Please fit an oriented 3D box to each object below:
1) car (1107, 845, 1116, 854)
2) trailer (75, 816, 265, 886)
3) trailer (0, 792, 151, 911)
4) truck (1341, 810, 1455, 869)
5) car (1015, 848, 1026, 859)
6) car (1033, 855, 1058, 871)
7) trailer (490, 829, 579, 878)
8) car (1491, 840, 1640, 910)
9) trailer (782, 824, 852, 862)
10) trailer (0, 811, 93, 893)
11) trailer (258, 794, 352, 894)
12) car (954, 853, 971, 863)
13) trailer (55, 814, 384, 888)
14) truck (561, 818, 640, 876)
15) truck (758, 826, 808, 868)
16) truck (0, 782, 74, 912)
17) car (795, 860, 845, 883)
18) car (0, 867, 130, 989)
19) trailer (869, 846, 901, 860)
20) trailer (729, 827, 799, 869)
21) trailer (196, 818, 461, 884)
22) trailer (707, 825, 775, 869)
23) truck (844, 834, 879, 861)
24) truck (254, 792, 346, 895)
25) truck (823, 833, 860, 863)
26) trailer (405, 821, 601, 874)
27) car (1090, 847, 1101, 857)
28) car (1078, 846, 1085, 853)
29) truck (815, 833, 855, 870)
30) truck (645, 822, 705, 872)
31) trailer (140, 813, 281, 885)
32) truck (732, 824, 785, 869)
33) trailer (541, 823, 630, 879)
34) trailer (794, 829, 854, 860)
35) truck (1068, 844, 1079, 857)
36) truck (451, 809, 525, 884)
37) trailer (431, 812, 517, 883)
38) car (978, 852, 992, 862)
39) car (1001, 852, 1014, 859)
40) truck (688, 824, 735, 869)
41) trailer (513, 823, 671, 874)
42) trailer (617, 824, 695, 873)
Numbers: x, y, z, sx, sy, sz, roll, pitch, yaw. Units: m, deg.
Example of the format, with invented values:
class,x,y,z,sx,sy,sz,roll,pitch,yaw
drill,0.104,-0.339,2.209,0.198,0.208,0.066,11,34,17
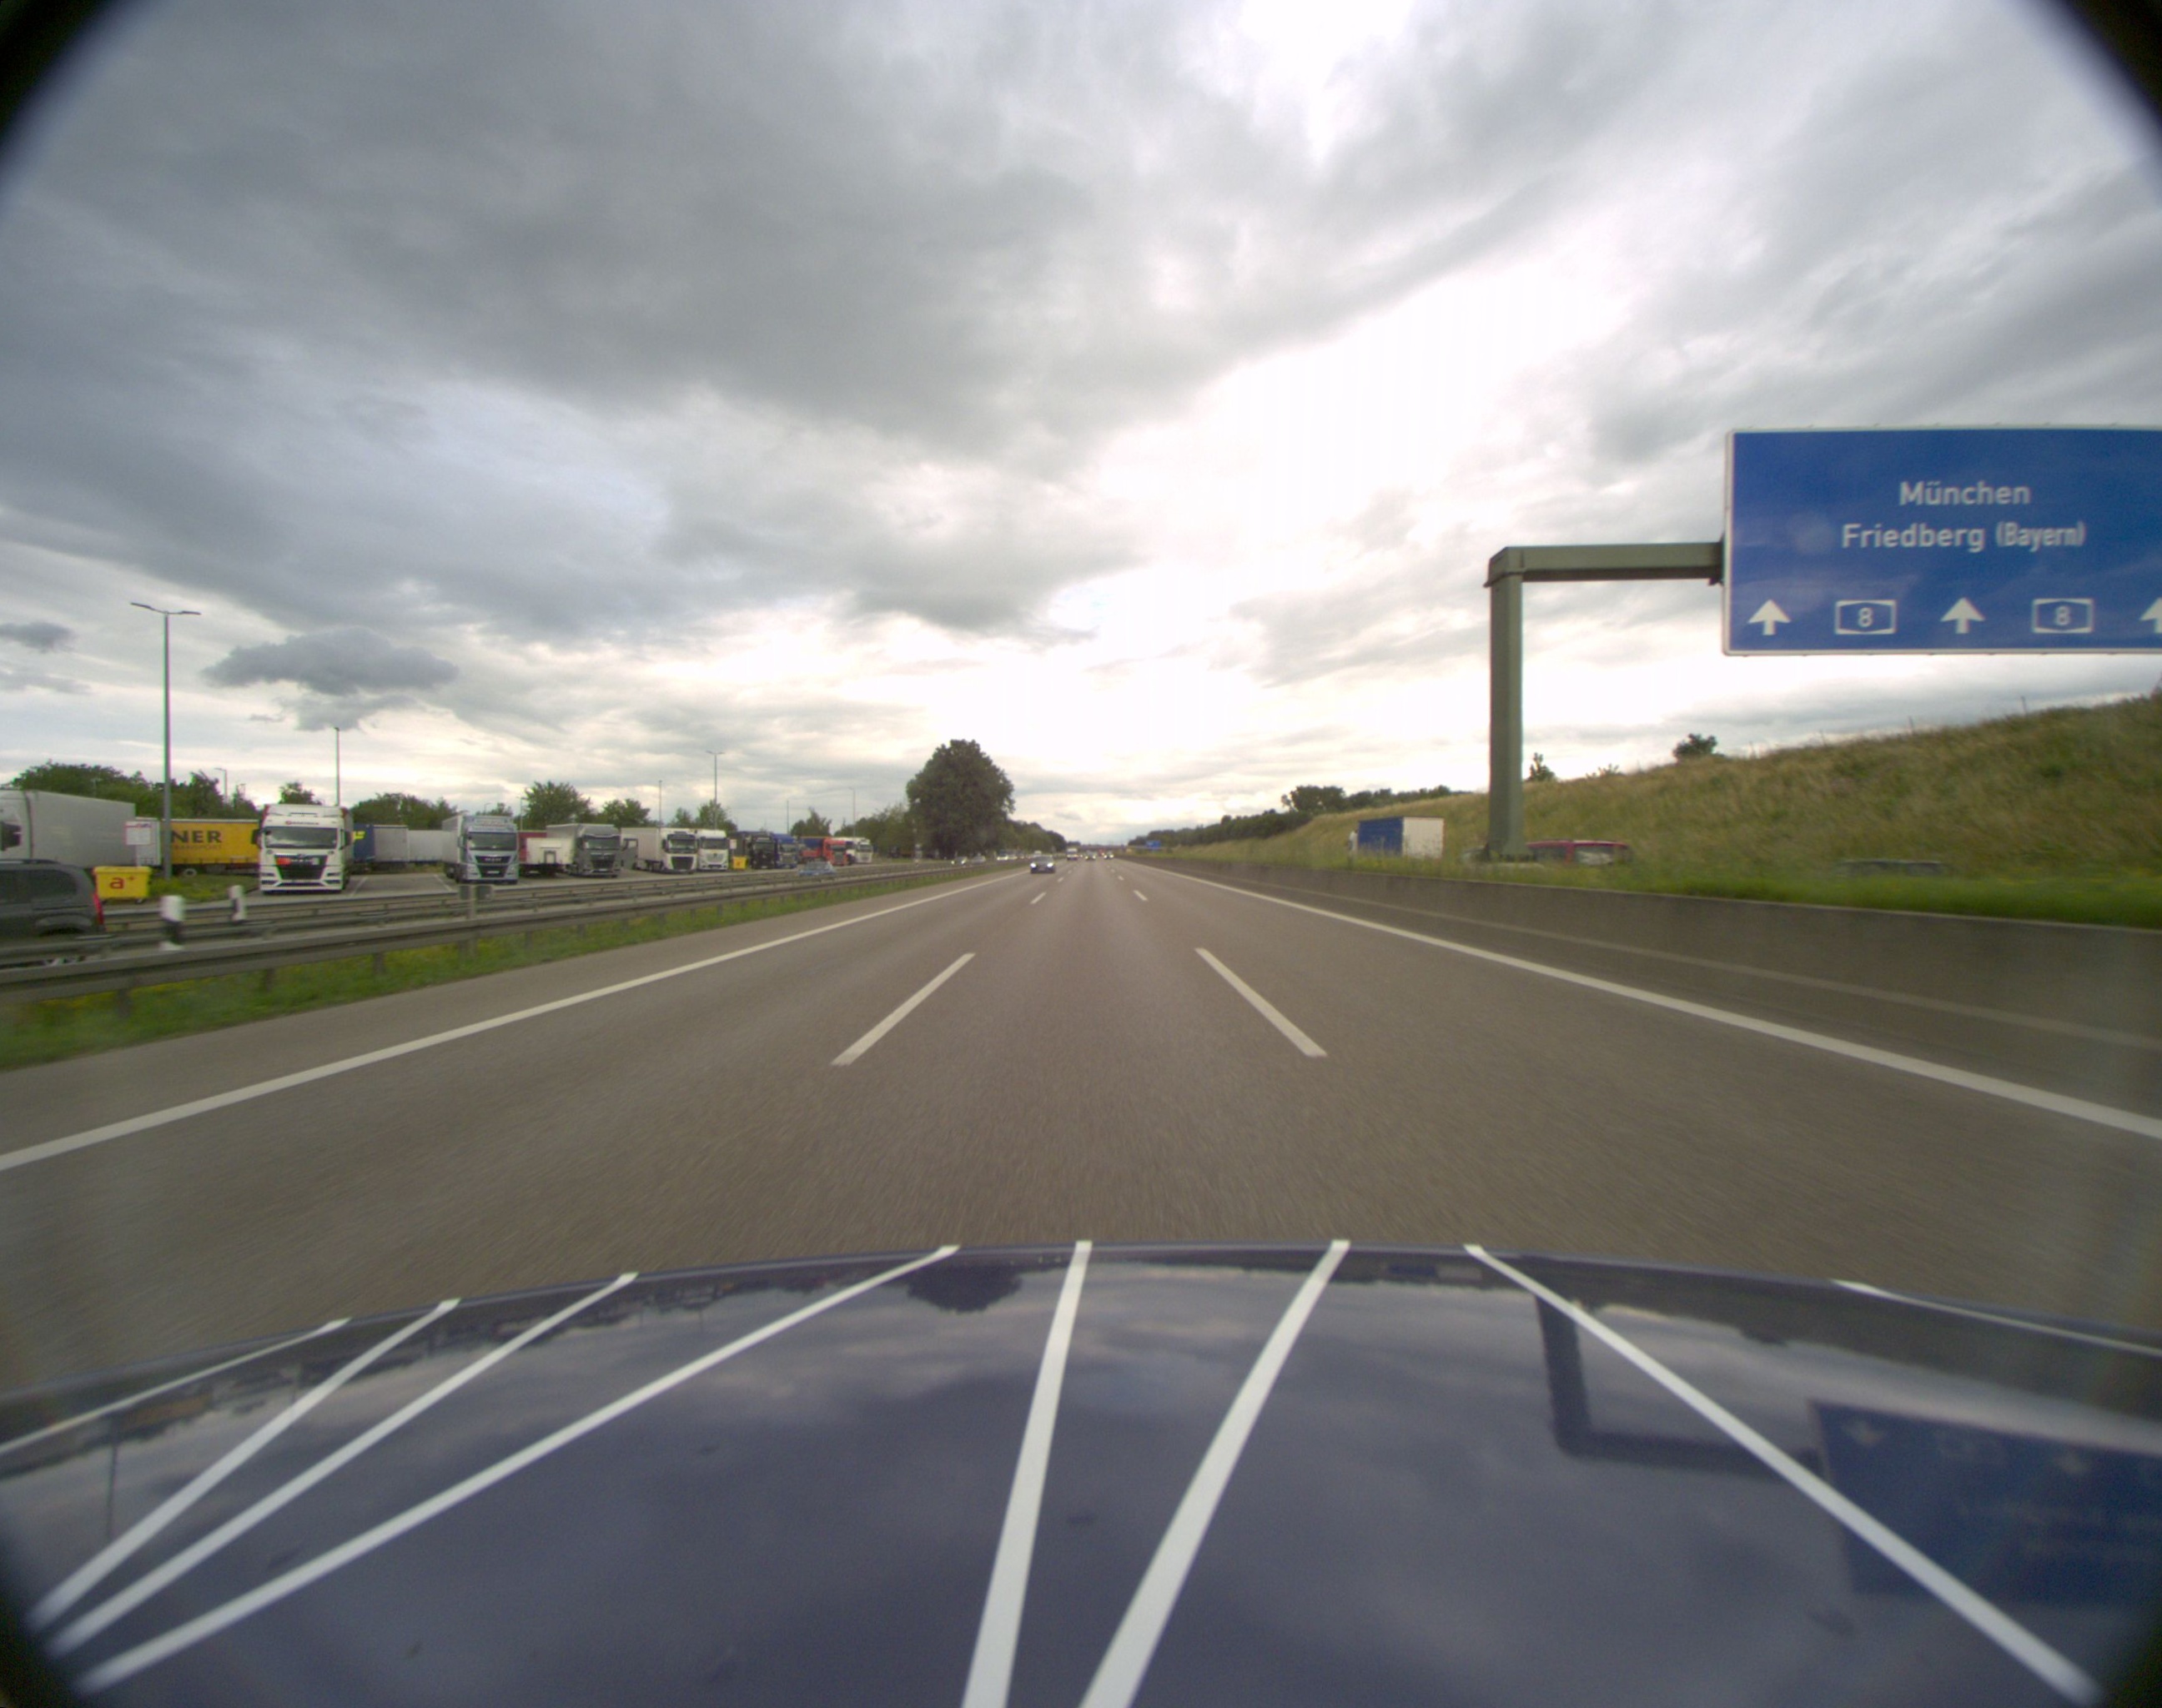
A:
class,x,y,z,sx,sy,sz,roll,pitch,yaw
car,6.918,-1.038,173.657,1.998,2.002,4.000,0,1,1
trailer,-59.016,-0.254,49.583,1.994,4.270,7.755,0,1,43
trailer,-41.416,0.042,30.744,2.618,4.051,13.507,-4,1,-42
truck,21.105,-0.935,51.576,3.267,3.582,10.934,-1,1,1
car,-12.388,-0.123,155.913,1.606,2.002,3.999,-3,1,1
car,-2.831,0.686,61.167,1.781,1.180,4.000,-1,1,1
trailer,-40.178,0.085,55.539,3.602,3.093,13.710,-3,1,-42
car,13.103,0.505,20.822,1.717,1.686,3.706,-3,1,1
trailer,-36.673,-1.418,104.770,2.869,4.651,15.768,-4,1,-43
trailer,-59.346,-0.056,37.347,2.623,4.256,12.906,-1,-1,43
trailer,-39.756,-0.335,39.281,2.482,4.371,14.105,-4,1,-43
car,-15.332,0.473,98.450,1.465,1.208,4.000,-1,1,1
trailer,-60.274,-0.407,54.323,15.078,4.616,2.866,-3,1,-44
truck,-36.419,-0.465,57.462,3.554,4.061,7.634,-4,1,-42
truck,-34.032,-0.753,86.684,3.066,4.531,6.069,-4,1,-43
truck,-36.363,-0.153,25.205,2.619,4.111,4.521,-4,2,-43
car,-16.390,1.093,47.889,1.796,1.251,3.545,-3,1,1
car,-16.710,1.112,10.280,1.832,1.747,4.594,-1,1,1
trailer,-51.887,-0.323,201.513,2.914,3.438,7.603,-1,1,45
trailer,-38.222,-0.629,91.252,3.069,4.553,13.620,-4,1,-43
trailer,-59.588,-0.432,61.101,14.683,4.616,3.150,-3,1,-44
trailer,-38.550,-0.693,85.802,3.170,4.565,12.377,-4,1,-42
truck,-34.575,-1.043,119.636,2.831,4.037,6.432,-3,1,-38
truck,-35.022,-0.438,34.229,2.516,4.303,4.891,-4,2,-44
truck,-33.957,-0.817,107.639,2.674,4.125,5.914,-4,1,-42
trailer,-55.662,-0.781,73.890,14.683,4.616,3.150,-3,1,-44
car,2.748,-0.371,146.148,1.998,2.002,4.000,0,1,1
car,0.066,-1.286,232.232,1.998,2.002,3.999,-3,1,1
truck,-32.558,-0.333,100.365,2.883,4.598,5.158,-4,2,-43
truck,-35.272,-0.562,65.863,2.891,4.111,6.953,-4,1,-41
trailer,-54.354,-0.334,47.650,1.994,4.270,5.647,0,1,43
truck,-34.550,-0.798,81.343,3.174,4.531,6.069,-4,1,-42
trailer,-41.149,-0.109,62.712,3.536,4.111,15.536,-4,1,-42
trailer,-38.134,-1.355,112.177,2.668,4.089,14.030,-4,1,-43
truck,-1.561,-0.727,158.262,1.998,2.483,5.869,-3,1,1
truck,-34.491,-0.426,44.114,2.646,4.108,4.782,-4,2,-45
trailer,-39.721,-0.245,49.406,2.663,4.061,14.656,-4,1,-45
car,-13.727,0.443,109.051,1.413,1.299,4.000,-1,1,1
car,-13.896,0.244,143.852,1.828,1.236,3.878,-1,1,1
truck,-34.687,-0.673,71.334,2.701,4.032,4.785,-4,1,-40
trailer,-53.296,-0.707,83.353,13.578,4.983,5.233,-3,1,-44
trailer,-40.213,-0.353,71.449,2.860,4.081,15.847,-4,1,-41
